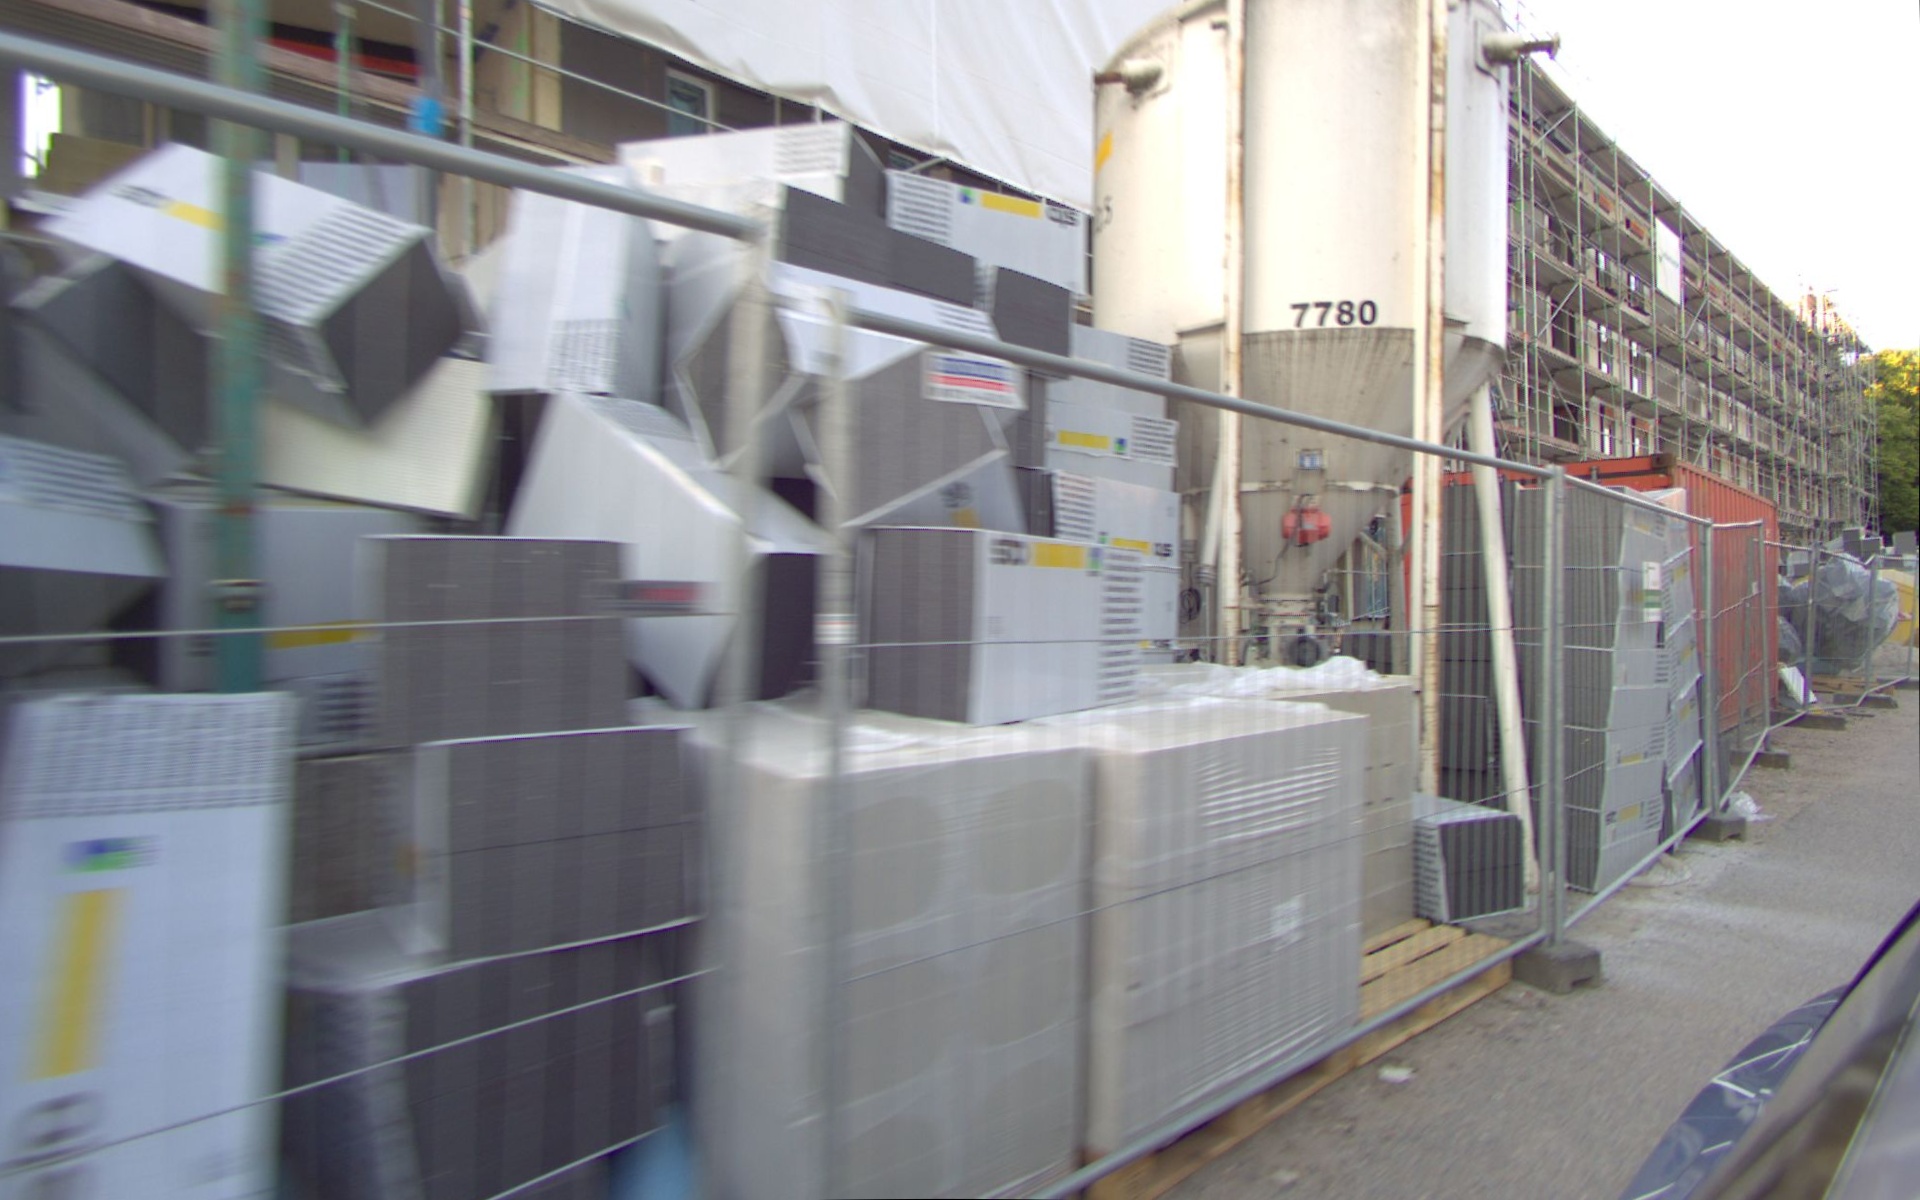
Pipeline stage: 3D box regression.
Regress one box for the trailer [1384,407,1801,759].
[{"bbox_3d":[7.460,-0.178,11.557,6.133,2.948,2.576,-1,0,-43],"label":"trailer"}]
